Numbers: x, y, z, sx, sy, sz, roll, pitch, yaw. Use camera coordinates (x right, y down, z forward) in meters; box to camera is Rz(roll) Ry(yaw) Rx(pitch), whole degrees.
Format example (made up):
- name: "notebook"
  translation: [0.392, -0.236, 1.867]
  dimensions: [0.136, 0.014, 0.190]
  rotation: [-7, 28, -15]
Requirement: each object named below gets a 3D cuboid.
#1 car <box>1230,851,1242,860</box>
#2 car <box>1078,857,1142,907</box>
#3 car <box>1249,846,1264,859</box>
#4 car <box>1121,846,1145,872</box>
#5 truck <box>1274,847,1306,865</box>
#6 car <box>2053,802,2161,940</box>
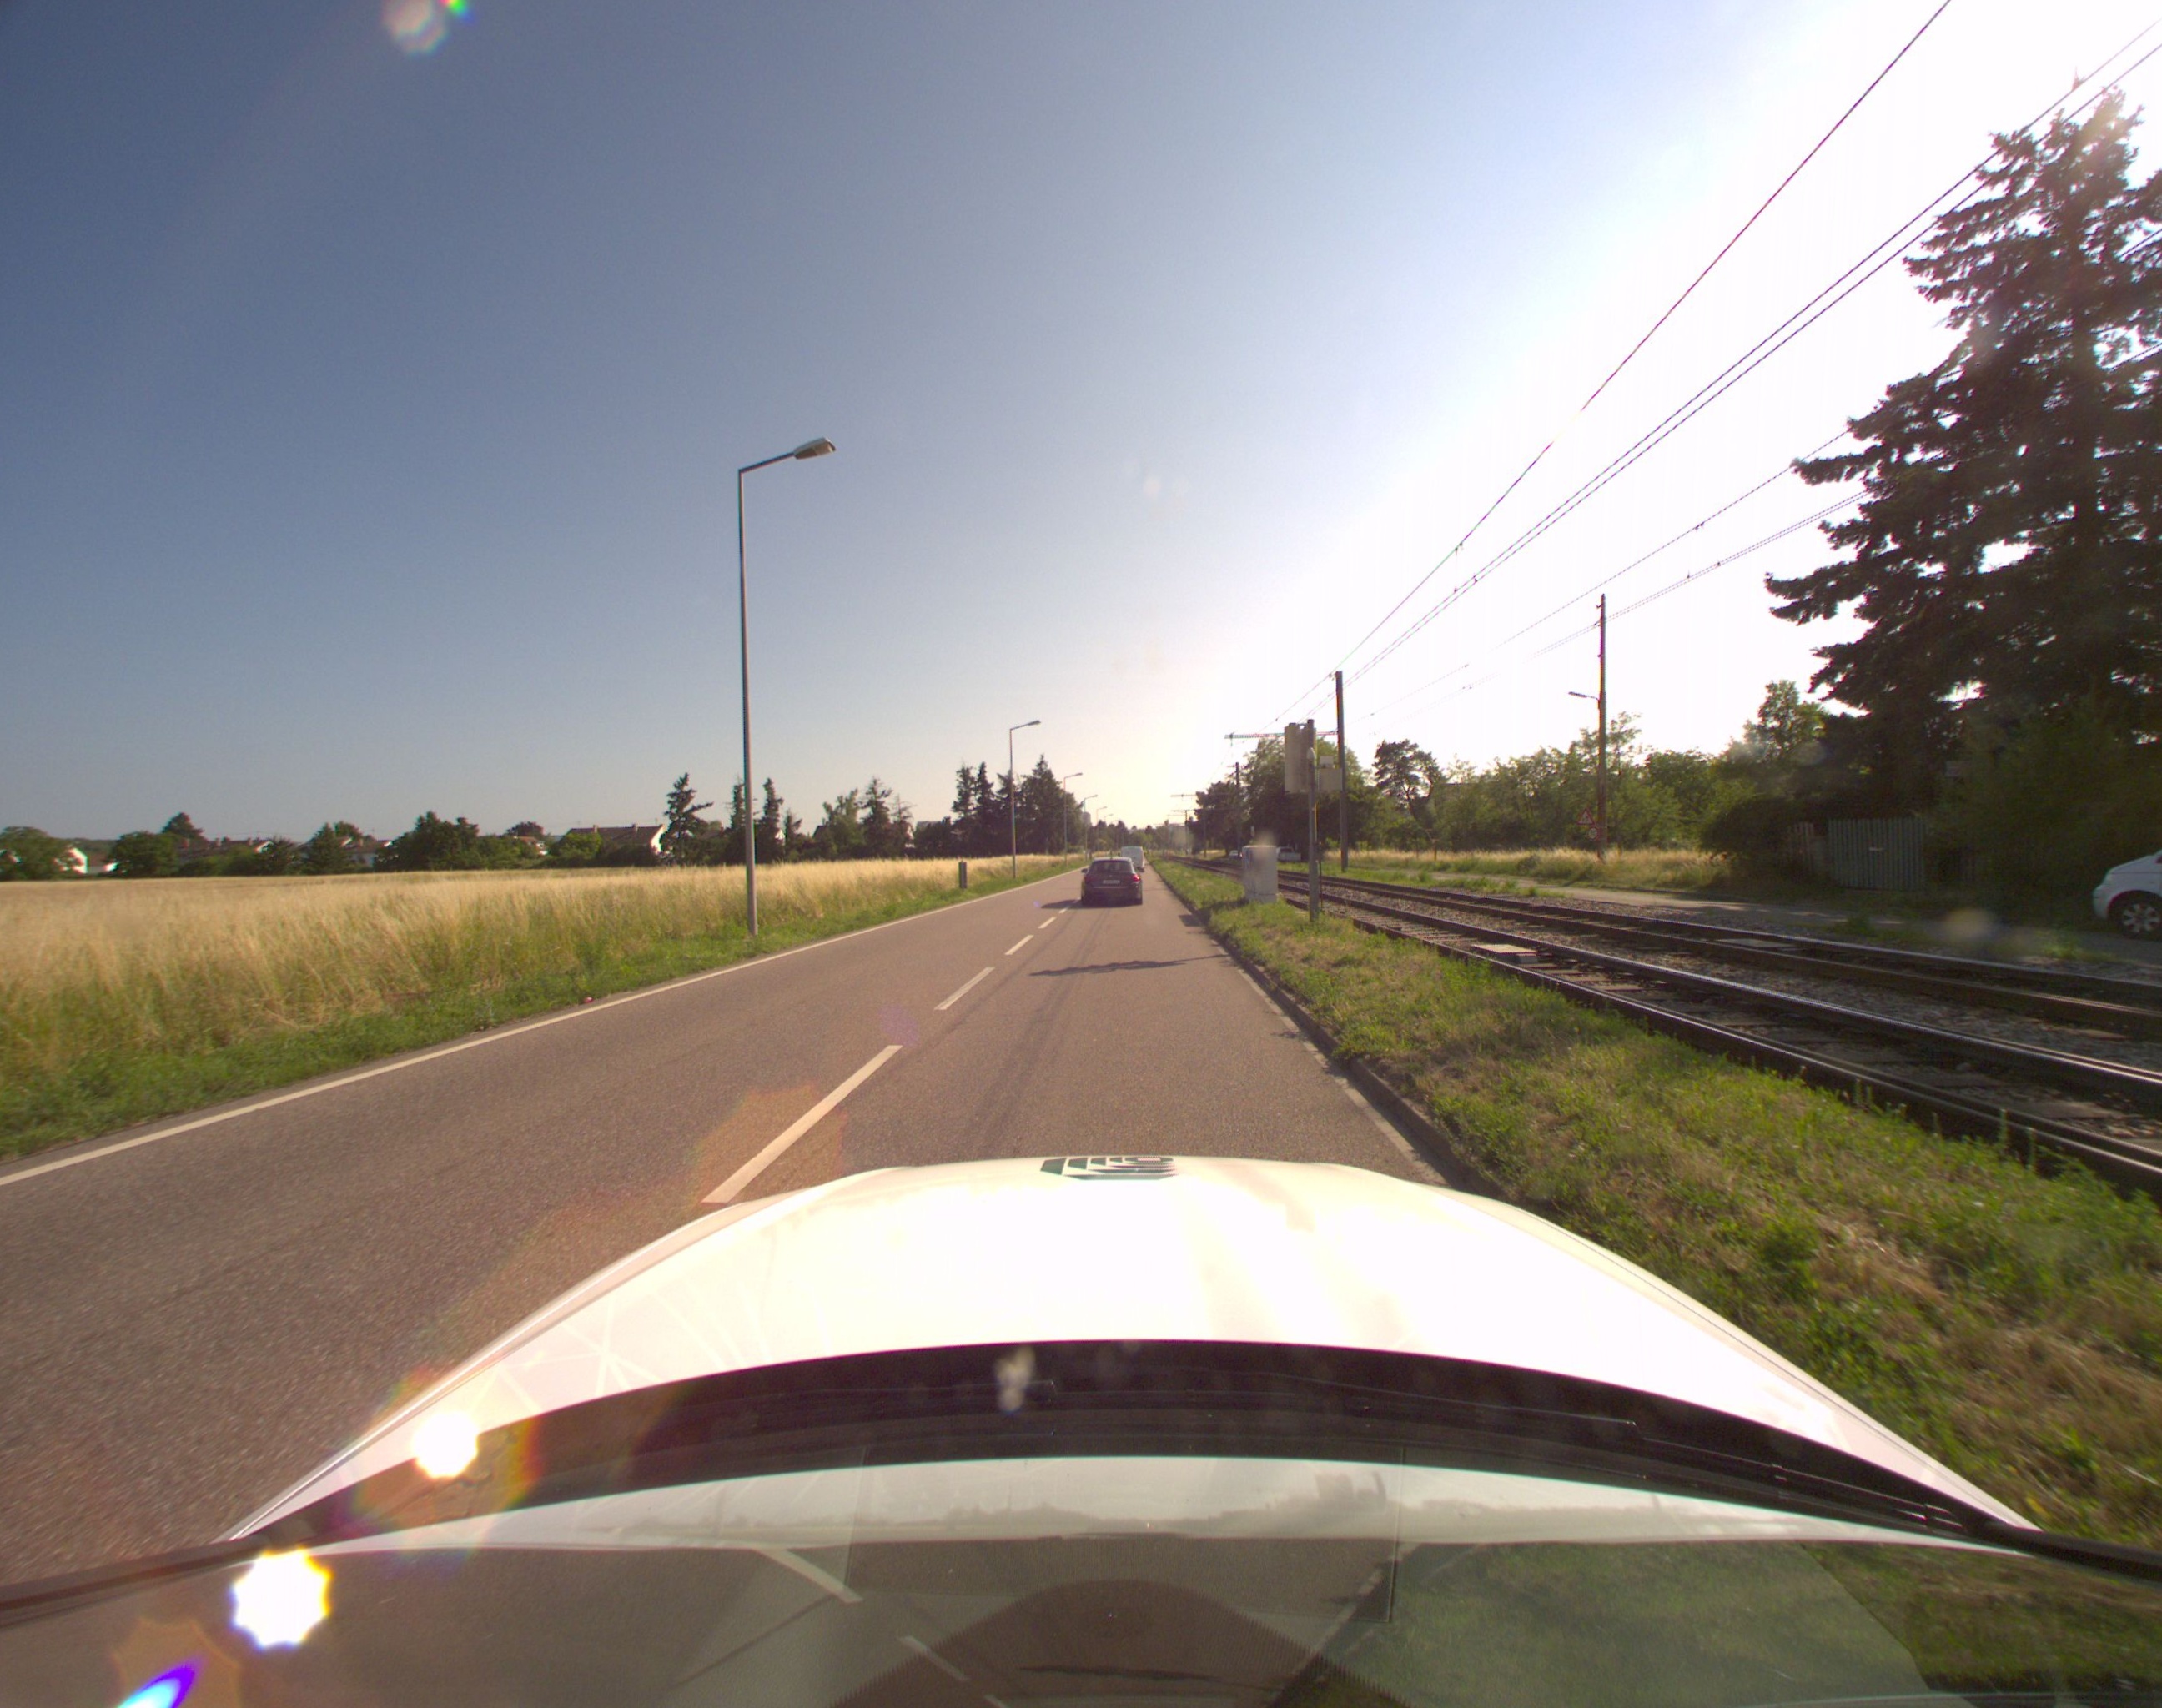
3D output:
- name: "car"
  translation: [25.134, 0.190, 131.941]
  dimensions: [1.614, 1.398, 3.493]
  rotation: [0, -1, 4]
- name: "car"
  translation: [0.970, 0.817, 26.003]
  dimensions: [1.861, 1.452, 4.747]
  rotation: [0, 0, 3]
- name: "car"
  translation: [24.477, -0.208, 113.950]
  dimensions: [1.726, 1.679, 3.550]
  rotation: [0, -1, 7]
- name: "car"
  translation: [4.143, 0.356, 65.374]
  dimensions: [1.850, 1.988, 5.111]
  rotation: [0, 0, 2]
- name: "truck"
  translation: [21.979, 0.189, 85.882]
  dimensions: [2.195, 1.819, 5.935]
  rotation: [-1, 0, 4]
- name: "car"
  translation: [16.567, 0.268, 10.586]
  dimensions: [1.985, 2.004, 5.071]
  rotation: [1, 0, 3]
